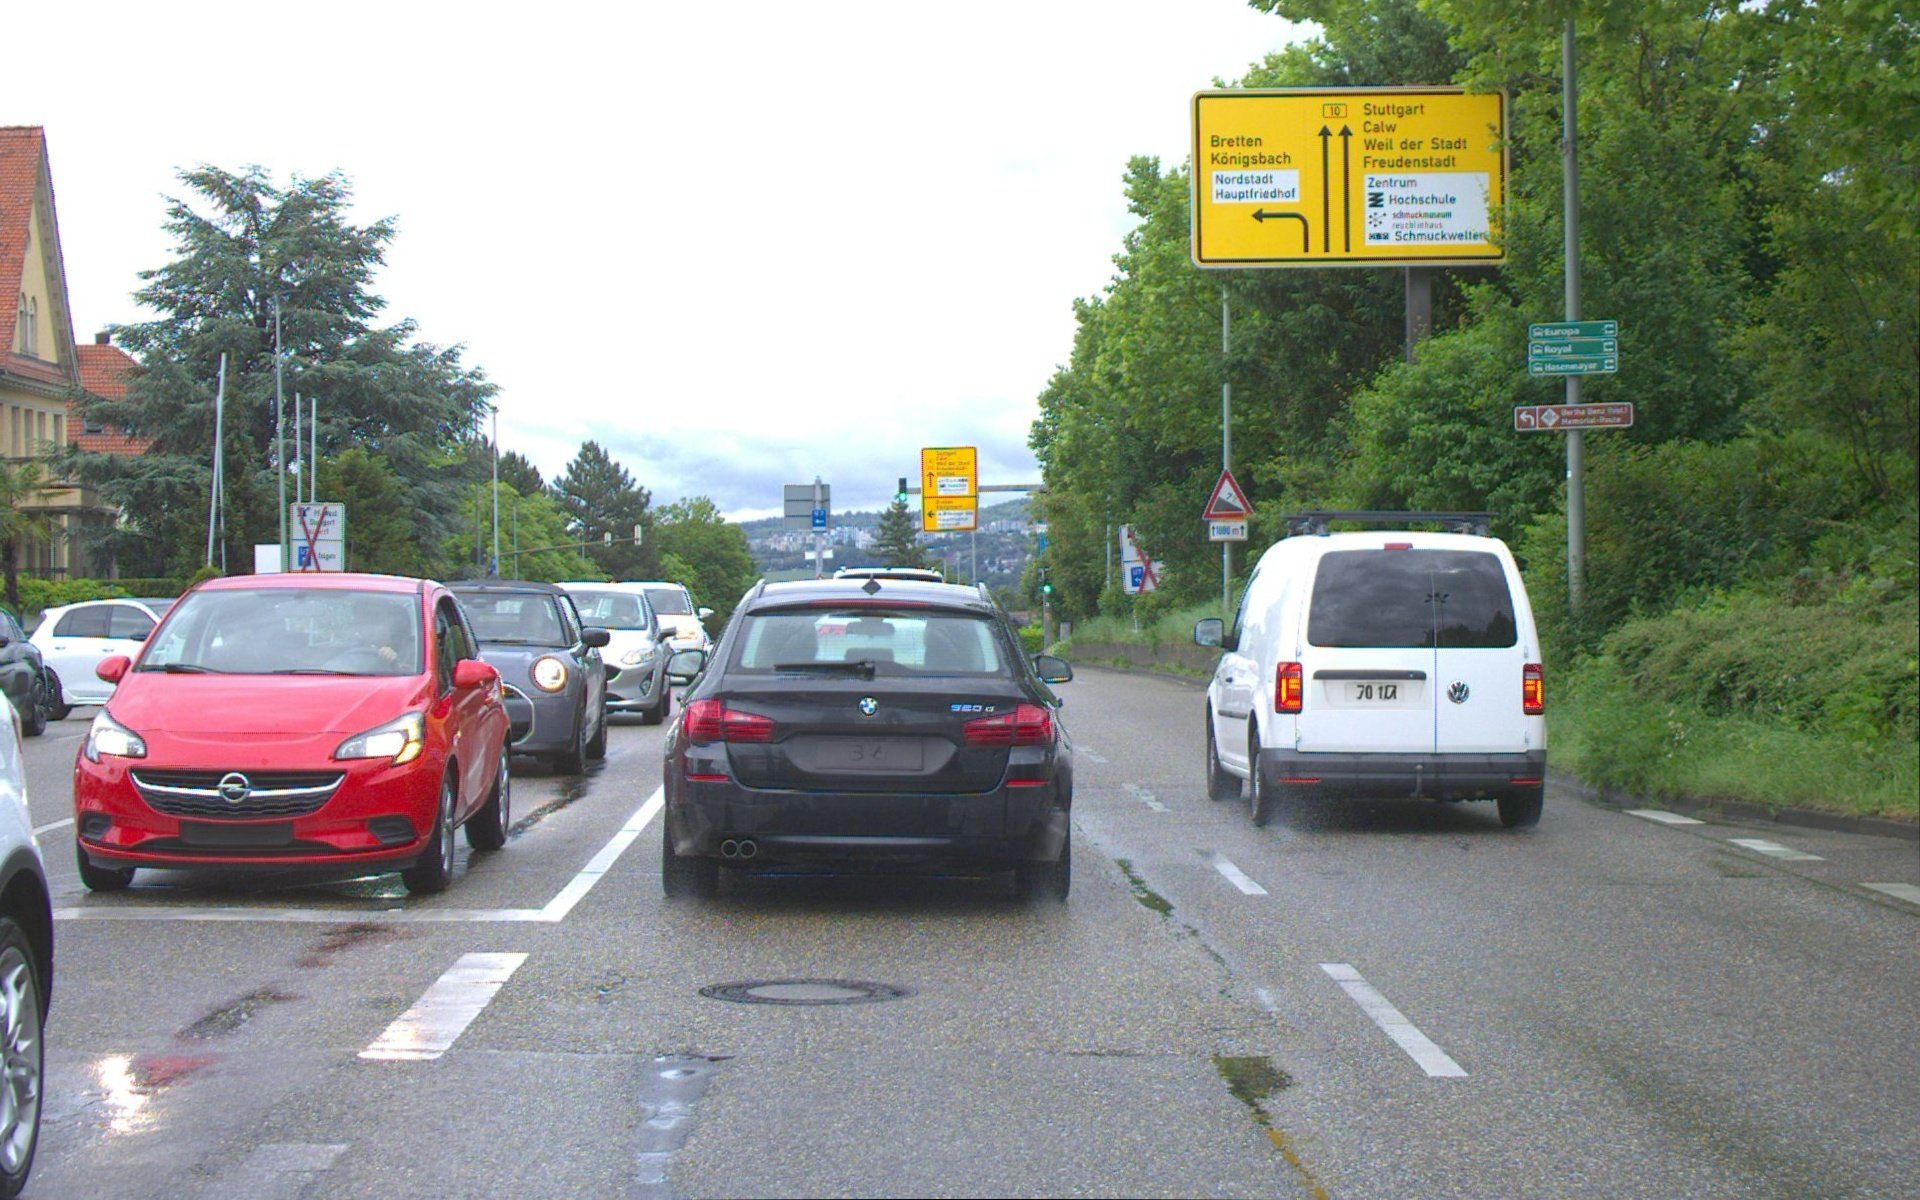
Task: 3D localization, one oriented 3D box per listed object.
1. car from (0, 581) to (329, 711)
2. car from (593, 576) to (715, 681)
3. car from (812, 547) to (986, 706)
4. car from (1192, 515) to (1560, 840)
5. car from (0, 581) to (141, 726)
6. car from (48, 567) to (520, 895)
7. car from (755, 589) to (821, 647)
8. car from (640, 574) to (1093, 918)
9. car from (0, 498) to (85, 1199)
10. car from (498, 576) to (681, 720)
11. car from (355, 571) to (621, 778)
[{"bbox_3d":[-9.565,0.541,40.963,4.039,1.472,1.639,-1,0,35],"label":"car"},{"bbox_3d":[-4.774,0.435,54.016,1.787,1.575,4.239,0,0,-3],"label":"car"},{"bbox_3d":[-0.675,0.255,39.072,1.868,1.668,4.000,0,1,0],"label":"car"},{"bbox_3d":[2.545,0.407,21.875,1.764,1.871,3.806,0,1,-2],"label":"car"},{"bbox_3d":[-10.090,0.556,37.081,1.601,1.395,4.406,-2,1,-3],"label":"car"},{"bbox_3d":[-3.211,0.579,17.064,1.632,1.429,4.144,0,0,-1],"label":"car"},{"bbox_3d":[-5.347,0.537,107.126,1.868,1.668,4.000,0,1,0],"label":"car"},{"bbox_3d":[-0.412,0.639,16.487,1.899,1.437,4.000,0,-1,0],"label":"car"},{"bbox_3d":[-3.024,0.630,6.302,1.839,1.644,4.298,-1,1,-2],"label":"car"},{"bbox_3d":[-3.873,0.490,36.418,1.601,1.436,3.949,1,0,-2],"label":"car"},{"bbox_3d":[-3.571,0.515,26.575,1.601,1.436,3.949,1,1,-2],"label":"car"}]
